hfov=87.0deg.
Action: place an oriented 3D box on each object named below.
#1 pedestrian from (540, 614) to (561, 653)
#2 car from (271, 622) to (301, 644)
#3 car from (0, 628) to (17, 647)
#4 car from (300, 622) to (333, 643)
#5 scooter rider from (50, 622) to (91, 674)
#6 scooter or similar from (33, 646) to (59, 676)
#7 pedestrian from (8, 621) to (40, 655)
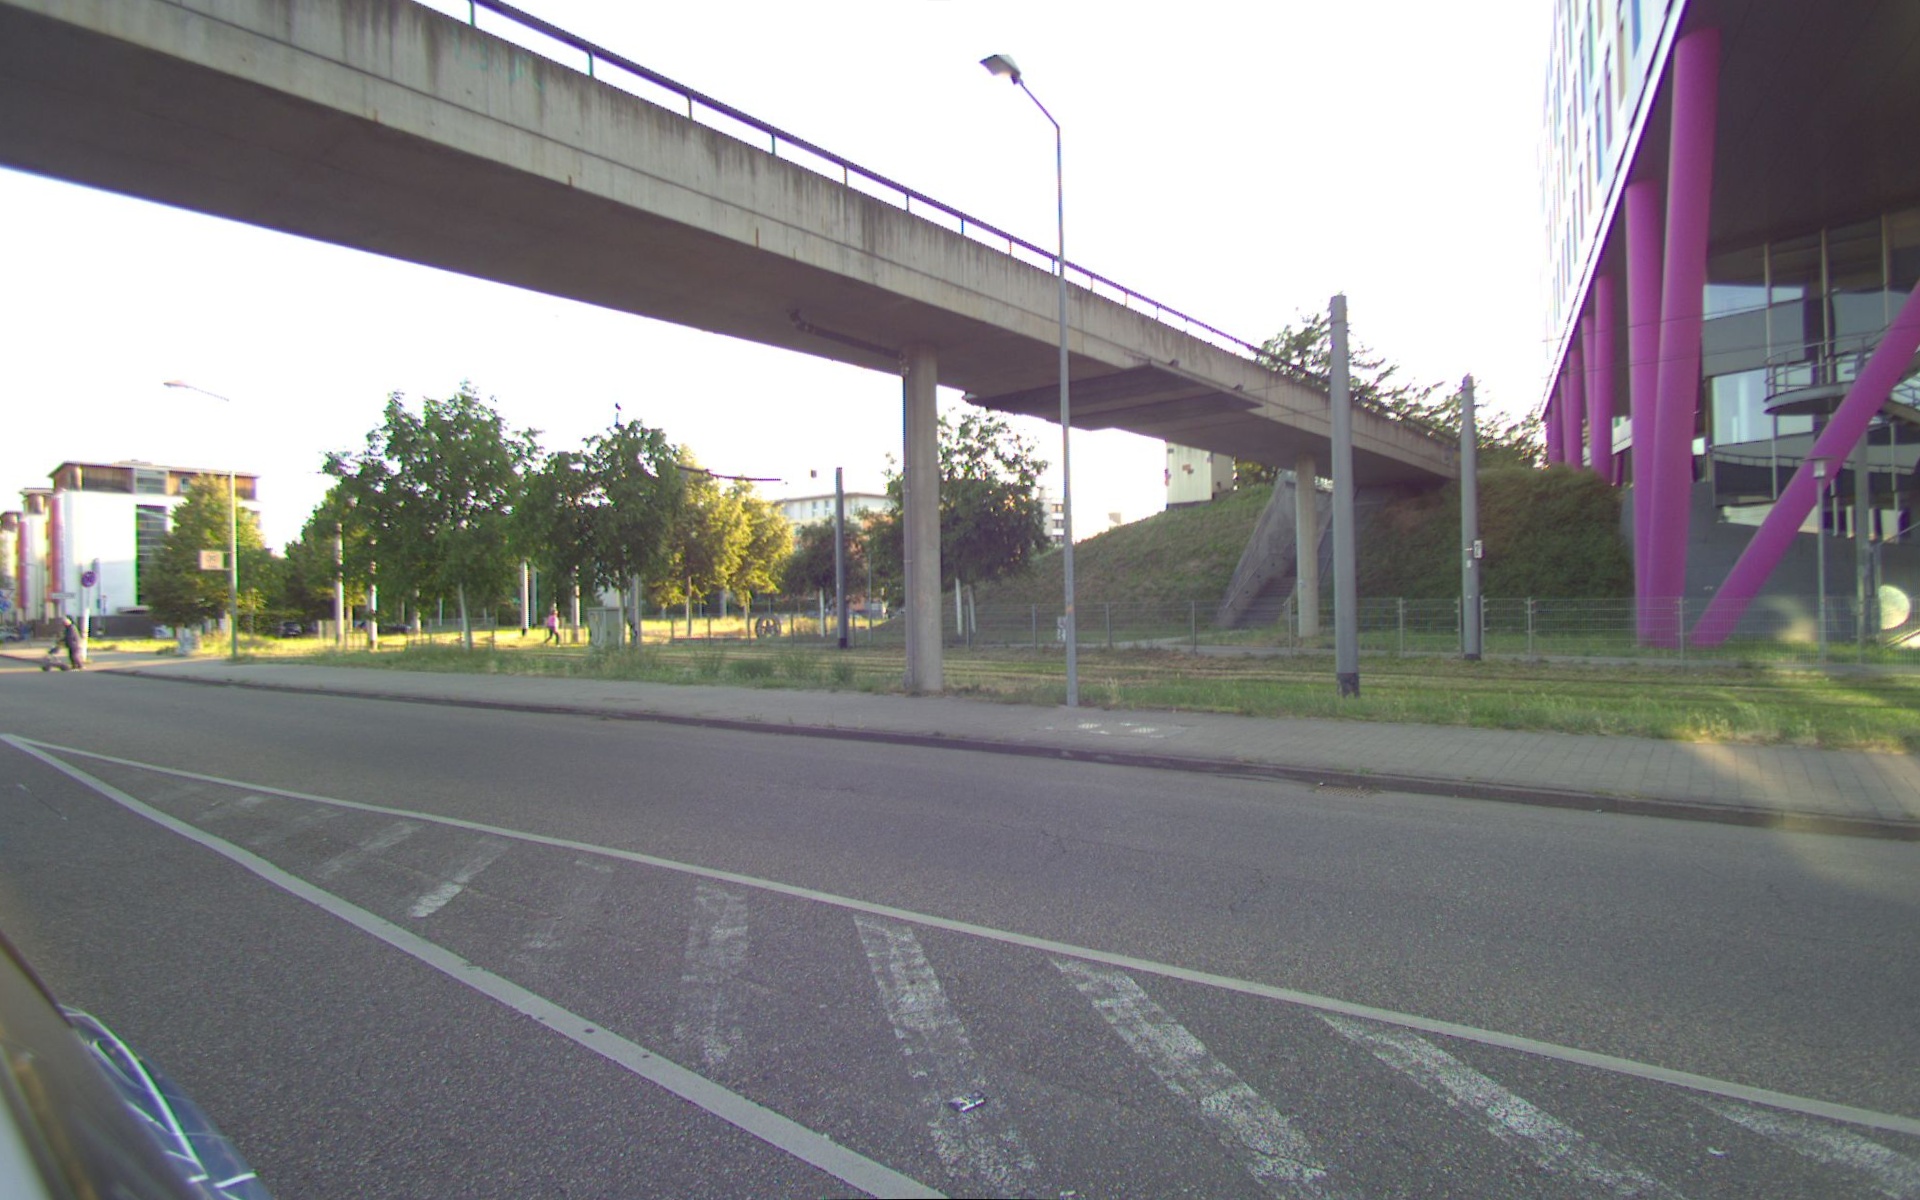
[{"bbox_3d":[-17.538,1.420,43.340,0.767,1.623,0.417,-1,-1,-38],"label":"pedestrian"},{"bbox_3d":[-57.048,2.788,85.619,1.842,1.734,3.853,-1,-1,-38],"label":"car"},{"bbox_3d":[-80.784,3.144,83.428,1.839,1.571,4.330,-1,0,42],"label":"car"},{"bbox_3d":[-55.396,2.760,87.077,1.843,1.734,3.851,-1,-1,-40],"label":"car"},{"bbox_3d":[-27.781,1.494,31.604,0.711,1.589,0.886,-2,-1,42],"label":"scooter rider"},{"bbox_3d":[-28.166,1.870,31.191,0.722,0.902,0.545,-1,-1,44],"label":"scooter or similar"},{"bbox_3d":[-58.054,2.367,62.792,1.072,2.029,1.143,-1,0,-21],"label":"pedestrian"}]
